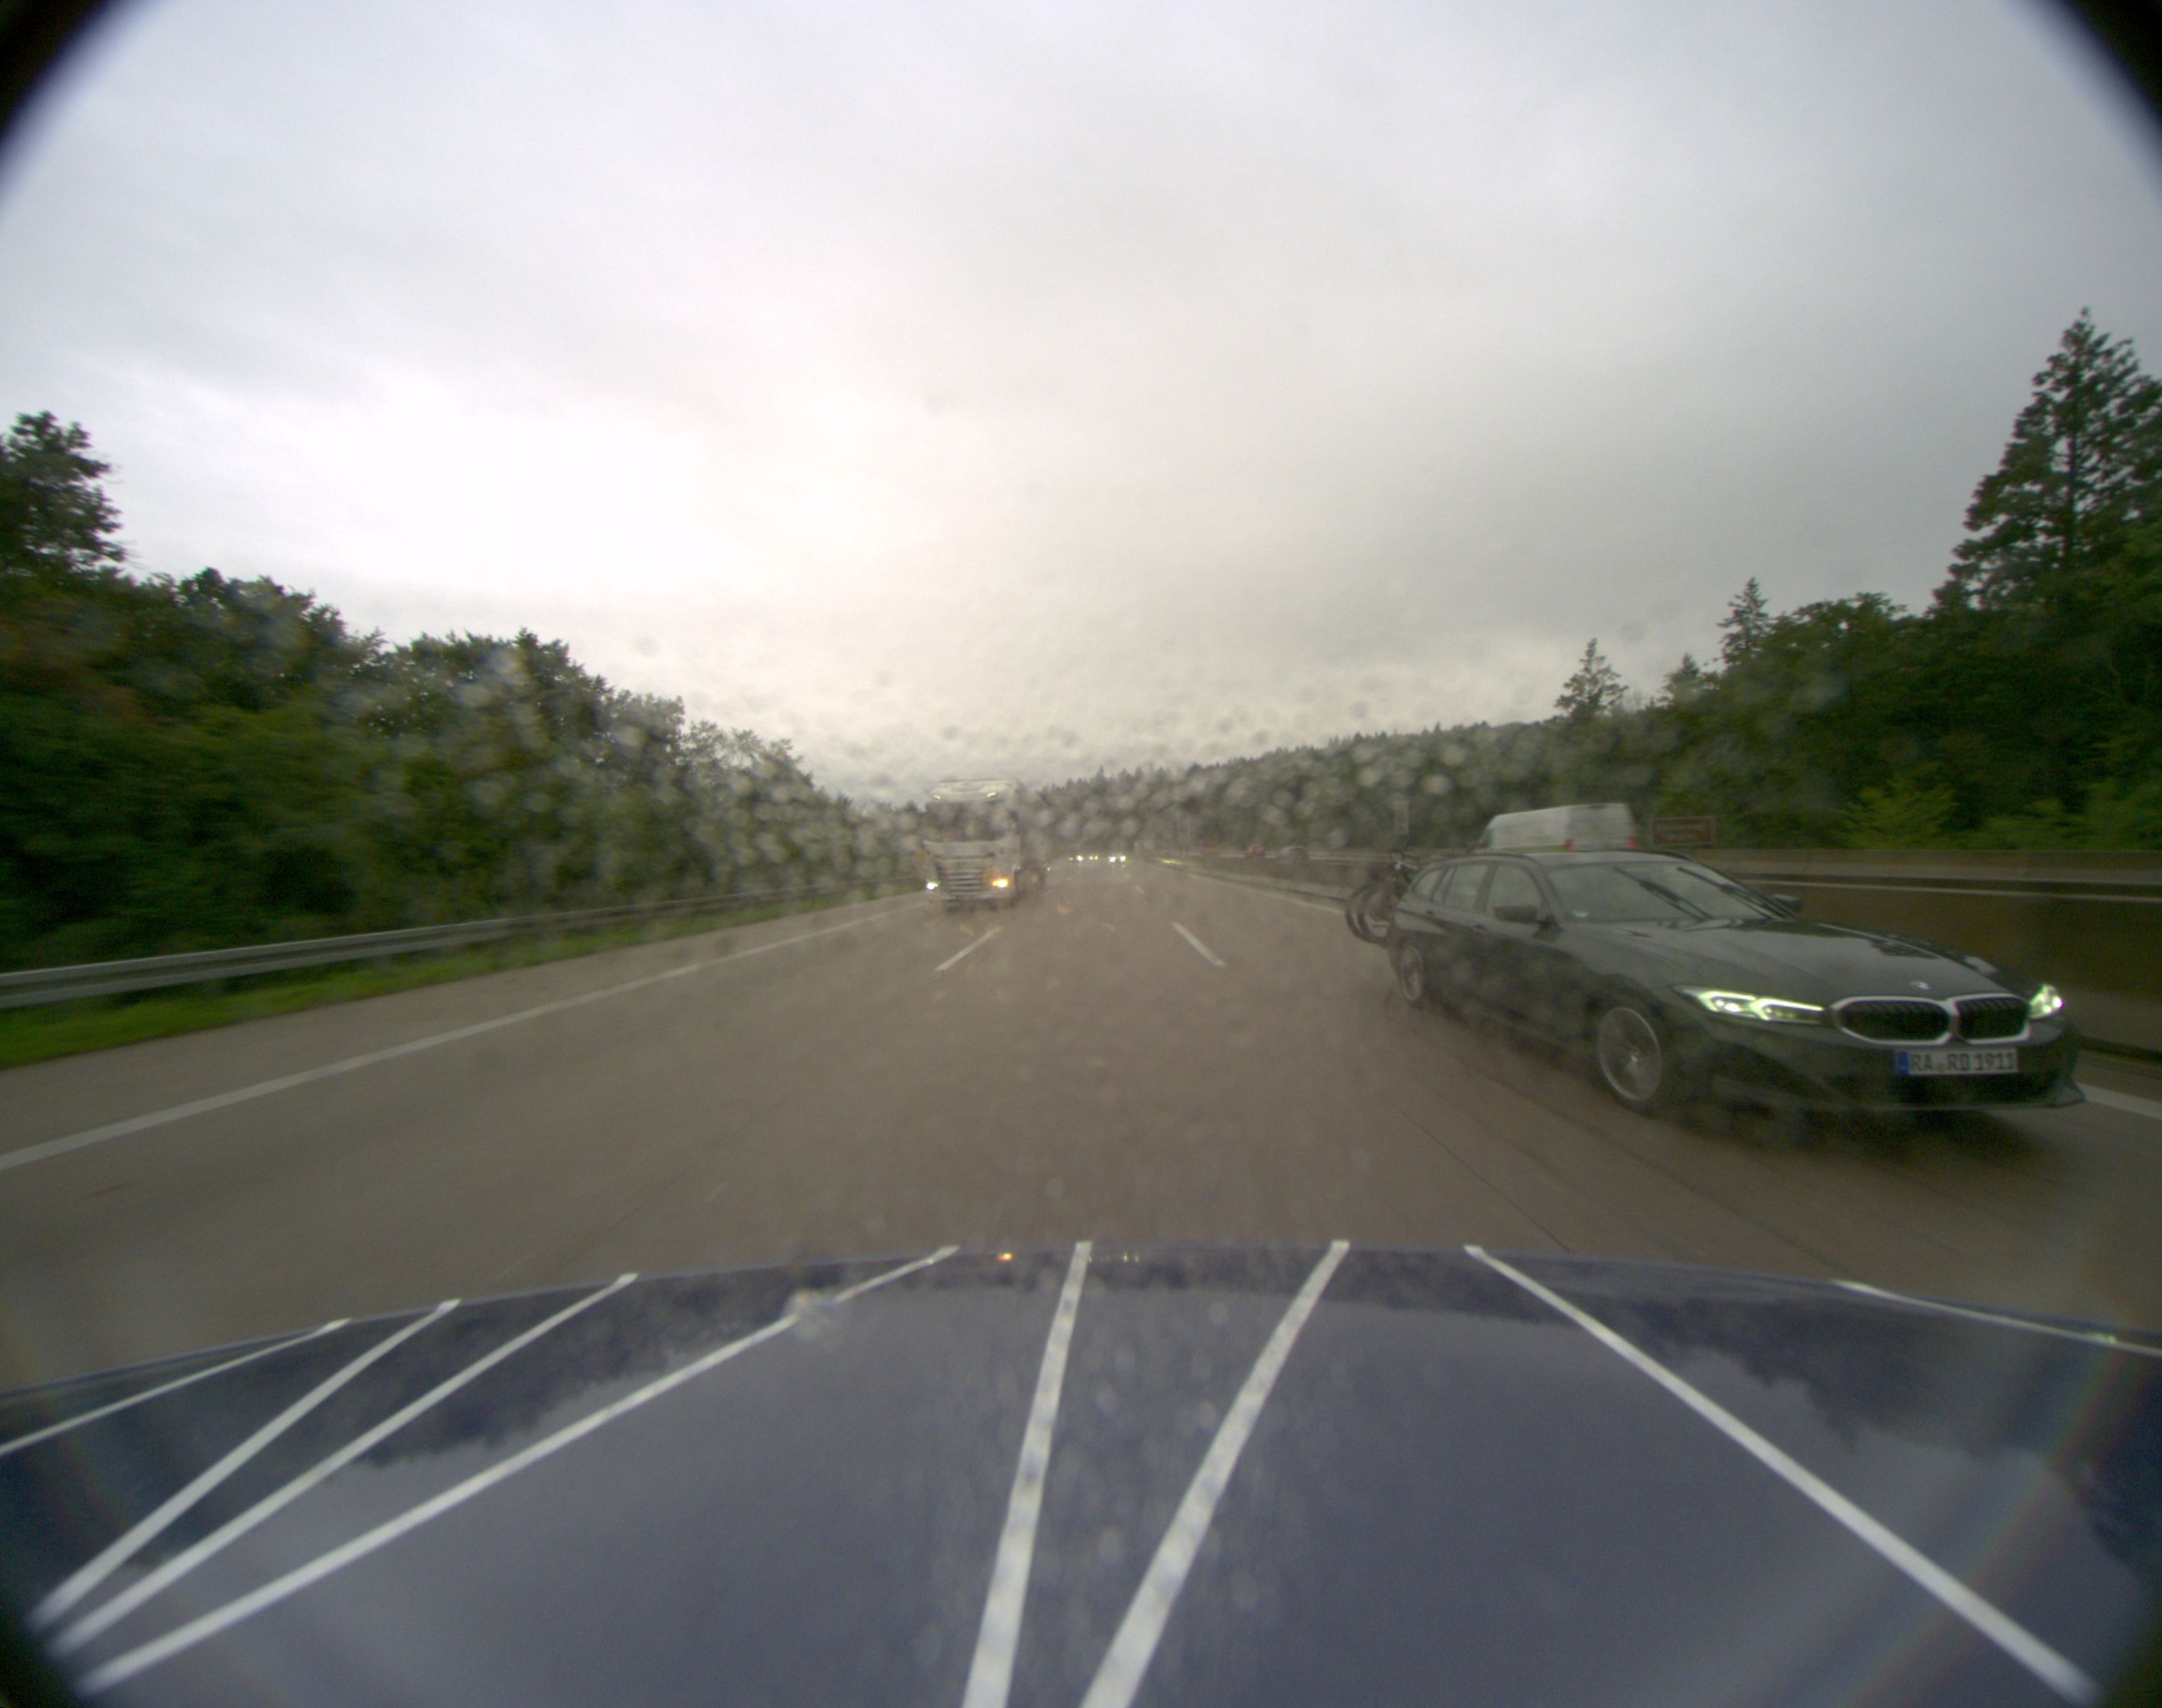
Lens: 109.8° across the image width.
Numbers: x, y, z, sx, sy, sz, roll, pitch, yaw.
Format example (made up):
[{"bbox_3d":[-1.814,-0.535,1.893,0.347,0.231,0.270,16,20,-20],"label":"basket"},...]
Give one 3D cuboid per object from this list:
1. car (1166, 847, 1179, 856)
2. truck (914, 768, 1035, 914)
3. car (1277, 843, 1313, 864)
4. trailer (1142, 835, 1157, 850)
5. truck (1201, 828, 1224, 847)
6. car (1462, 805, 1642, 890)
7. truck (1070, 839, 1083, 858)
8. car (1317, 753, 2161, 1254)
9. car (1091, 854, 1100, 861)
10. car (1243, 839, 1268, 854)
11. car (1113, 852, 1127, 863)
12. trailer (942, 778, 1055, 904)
[{"bbox_3d":[16.517,-0.436,137.135,1.998,1.382,4.752,-3,0,2],"label":"car"},{"bbox_3d":[-3.178,-0.380,24.284,2.728,4.018,5.752,-2,1,2],"label":"truck"},{"bbox_3d":[16.639,-0.061,59.245,1.612,1.545,4.642,-2,0,2],"label":"car"},{"bbox_3d":[19.749,-3.196,220.479,2.953,4.009,13.787,-3,0,0],"label":"trailer"},{"bbox_3d":[22.640,-2.772,131.599,2.438,3.156,10.662,-3,0,2],"label":"truck"},{"bbox_3d":[15.585,-0.210,25.777,1.998,2.435,6.745,-2,0,1],"label":"car"},{"bbox_3d":[-1.040,-1.175,174.322,2.738,4.127,8.620,-2,0,-1],"label":"truck"},{"bbox_3d":[3.836,0.566,6.072,1.912,1.933,6.161,-2,0,0],"label":"car"},{"bbox_3d":[3.158,0.697,164.912,1.717,1.399,4.935,-2,0,-1],"label":"car"},{"bbox_3d":[21.090,-0.957,92.111,1.998,1.689,4.974,-2,0,2],"label":"car"},{"bbox_3d":[5.178,0.509,102.047,1.716,1.399,4.936,-2,0,1],"label":"car"},{"bbox_3d":[-2.894,-0.463,31.479,2.686,4.017,13.705,-1,0,2],"label":"trailer"}]
